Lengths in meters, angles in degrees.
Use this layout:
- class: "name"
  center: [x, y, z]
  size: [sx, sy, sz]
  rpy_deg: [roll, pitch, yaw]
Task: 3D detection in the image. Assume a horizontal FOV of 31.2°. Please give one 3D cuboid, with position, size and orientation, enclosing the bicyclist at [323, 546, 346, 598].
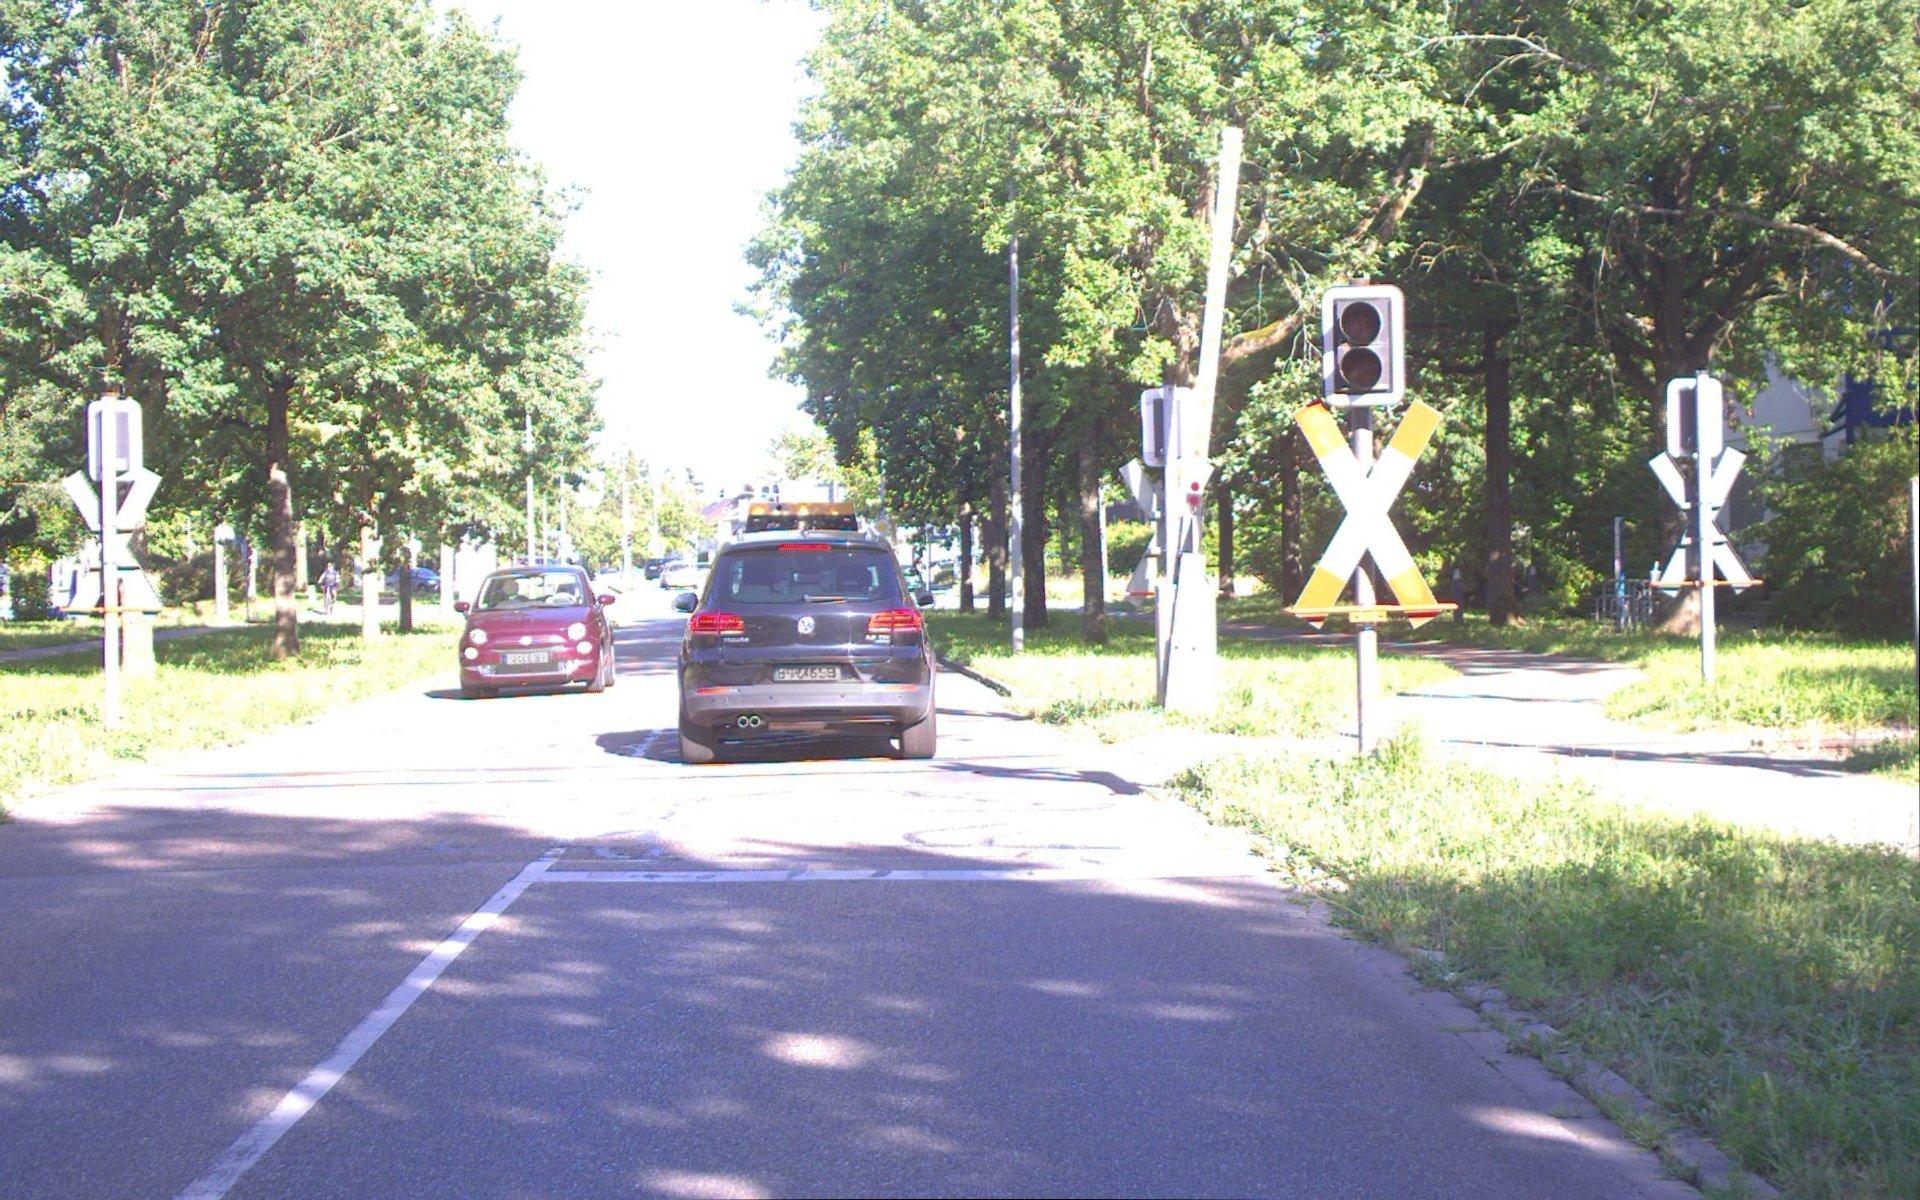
- class: "bicyclist"
  center: [-22.275, -0.990, 122.489]
  size: [0.686, 1.825, 0.934]
  rpy_deg: [1, 1, -3]

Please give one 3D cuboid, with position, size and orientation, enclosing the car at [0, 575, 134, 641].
- class: "car"
  center: [-28.837, 0.236, 107.555]
  size: [5.788, 2.007, 2.001]
  rpy_deg: [1, 1, -12]

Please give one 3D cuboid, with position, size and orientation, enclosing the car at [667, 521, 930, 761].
- class: "car"
  center: [-1.129, 0.258, 25.697]
  size: [1.782, 1.628, 4.000]
  rpy_deg: [1, 1, 0]

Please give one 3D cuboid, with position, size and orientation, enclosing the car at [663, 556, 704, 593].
- class: "car"
  center: [-15.216, -1.425, 189.346]
  size: [1.993, 2.007, 4.001]
  rpy_deg: [1, 1, -8]

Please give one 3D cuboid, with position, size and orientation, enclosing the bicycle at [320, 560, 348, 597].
- class: "bicycle"
  center: [-22.276, -0.774, 122.416]
  size: [0.717, 1.317, 1.992]
  rpy_deg: [1, 1, -3]

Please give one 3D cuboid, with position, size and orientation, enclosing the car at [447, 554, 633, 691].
- class: "car"
  center: [-4.869, 0.226, 40.327]
  size: [1.565, 1.499, 4.000]
  rpy_deg: [1, 1, 2]

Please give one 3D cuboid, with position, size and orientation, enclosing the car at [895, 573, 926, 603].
- class: "car"
  center: [-2.464, -0.606, 170.716]
  size: [1.452, 1.401, 2.856]
  rpy_deg: [1, 1, -2]

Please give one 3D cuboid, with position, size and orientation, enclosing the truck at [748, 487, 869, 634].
- class: "truck"
  center: [-3.501, -0.943, 80.853]
  size: [2.512, 3.232, 8.152]
  rpy_deg: [-1, 1, -1]
